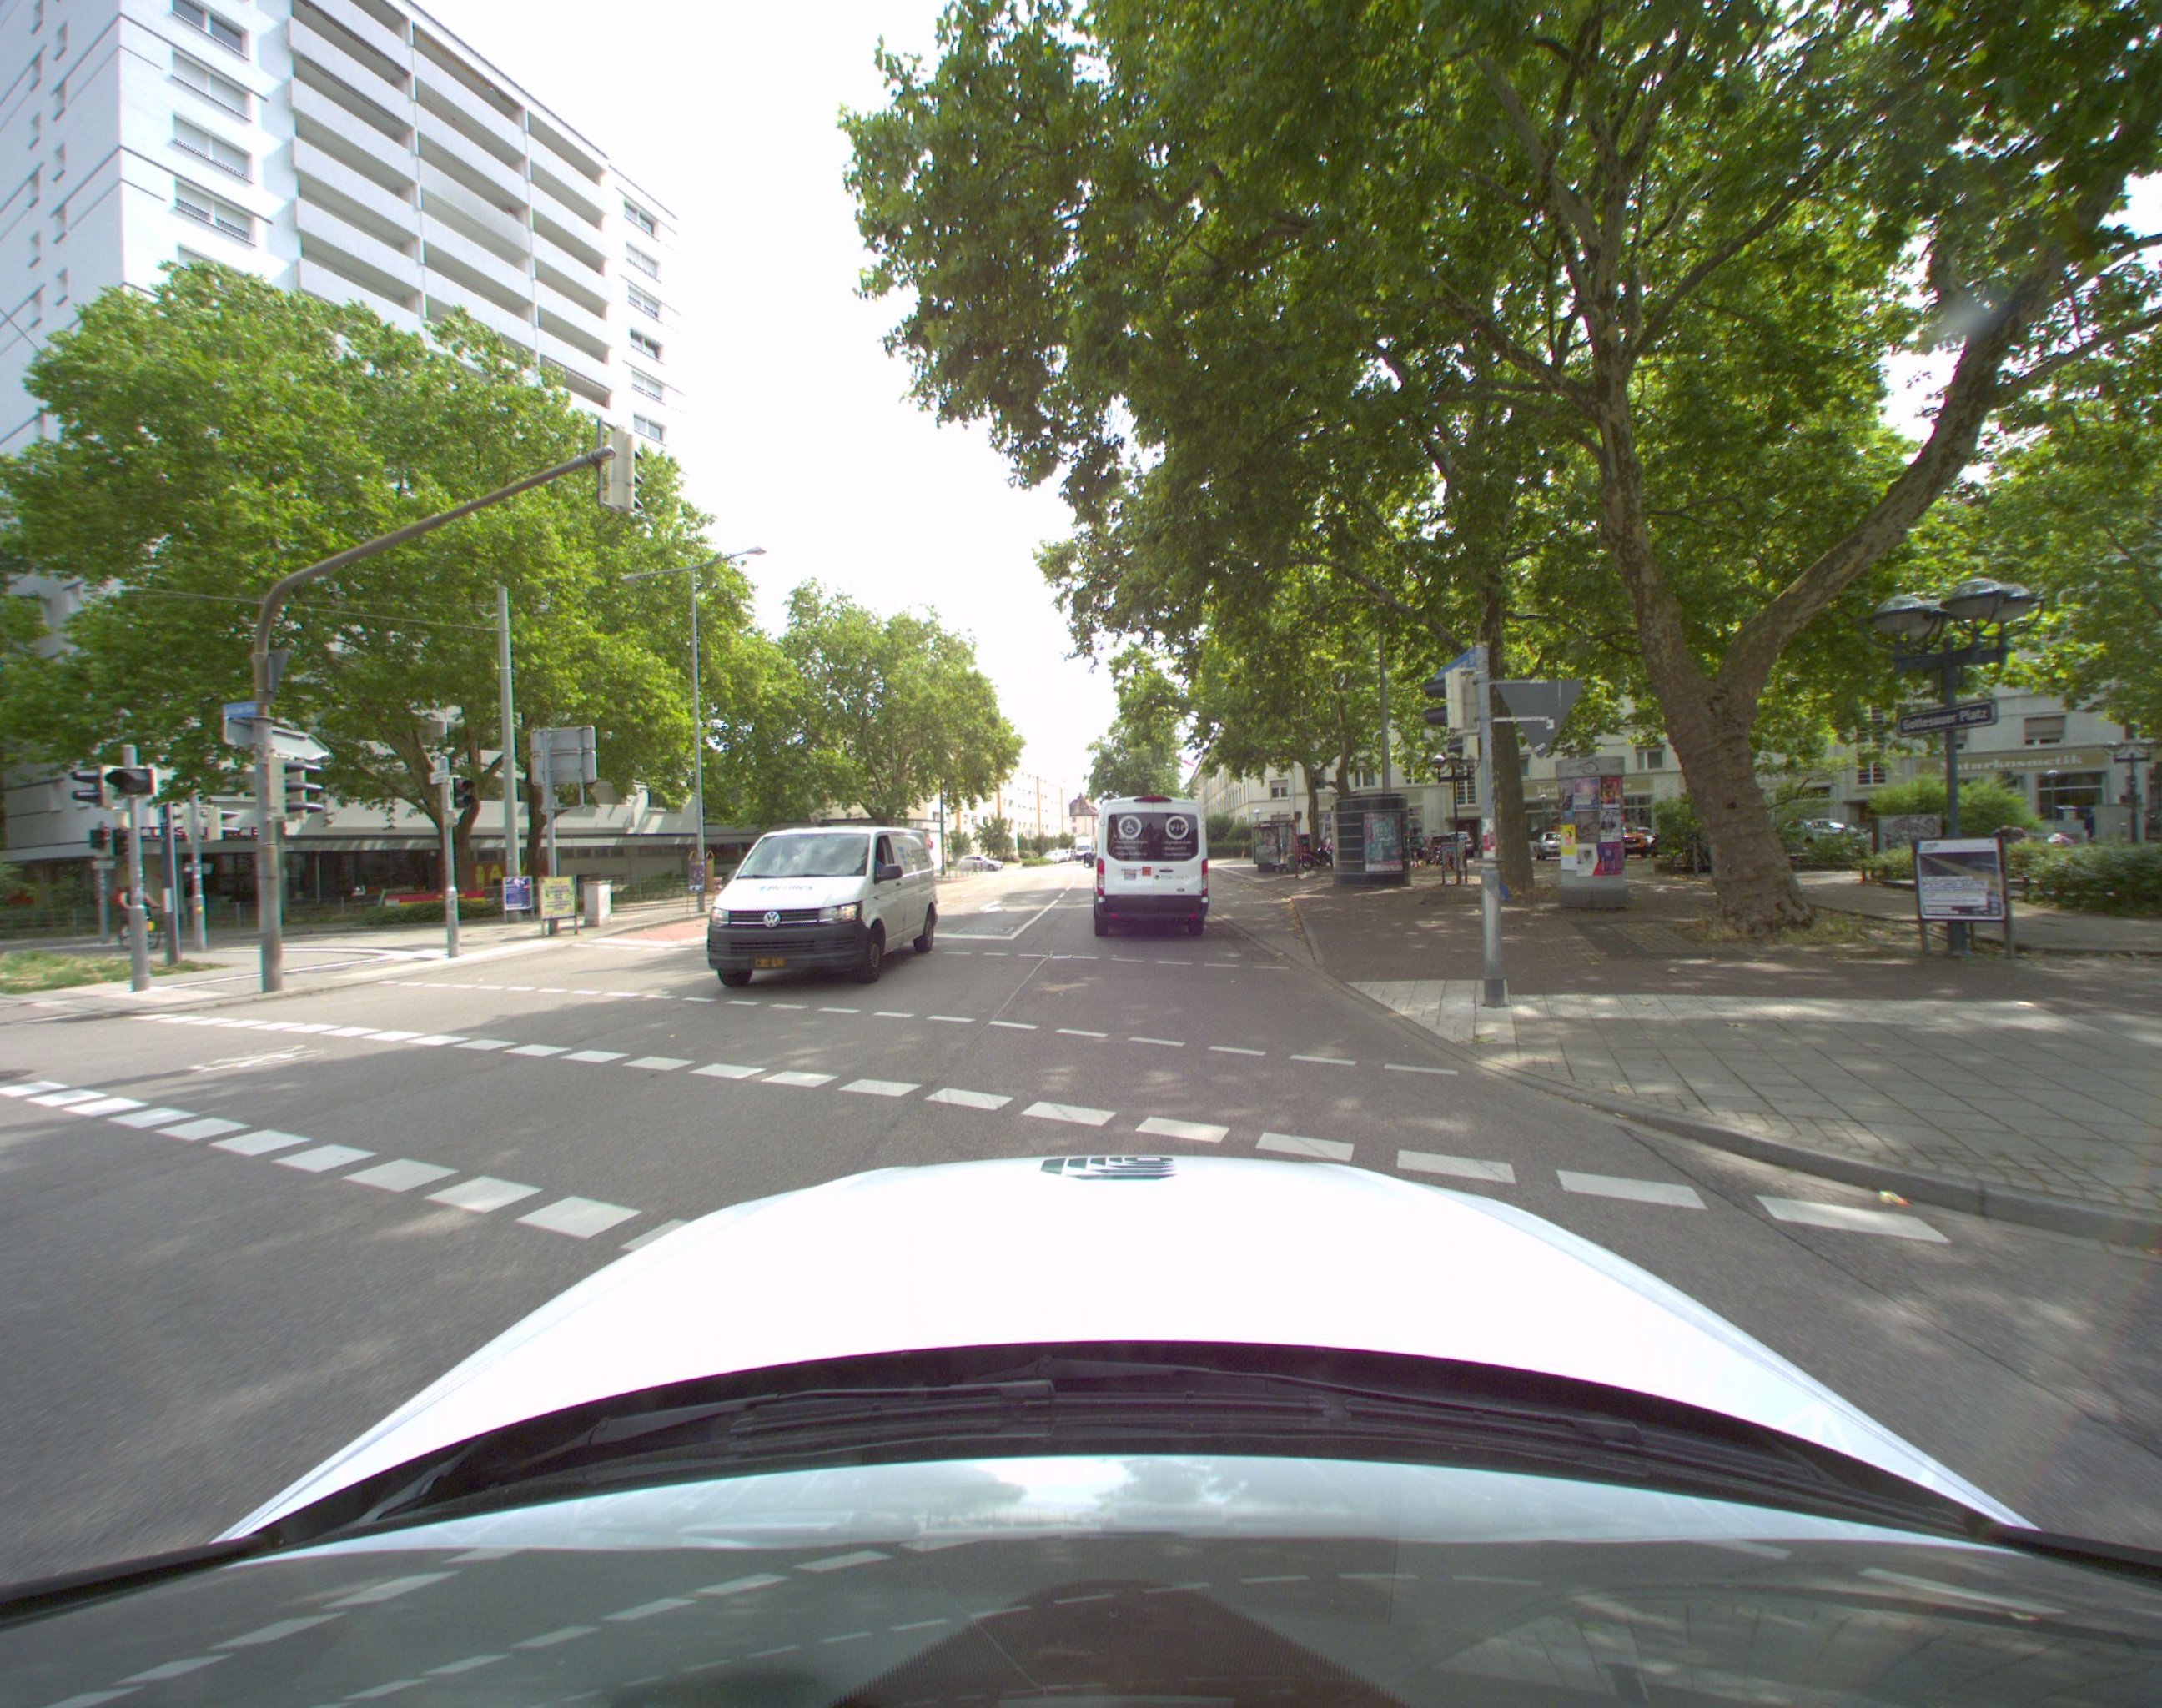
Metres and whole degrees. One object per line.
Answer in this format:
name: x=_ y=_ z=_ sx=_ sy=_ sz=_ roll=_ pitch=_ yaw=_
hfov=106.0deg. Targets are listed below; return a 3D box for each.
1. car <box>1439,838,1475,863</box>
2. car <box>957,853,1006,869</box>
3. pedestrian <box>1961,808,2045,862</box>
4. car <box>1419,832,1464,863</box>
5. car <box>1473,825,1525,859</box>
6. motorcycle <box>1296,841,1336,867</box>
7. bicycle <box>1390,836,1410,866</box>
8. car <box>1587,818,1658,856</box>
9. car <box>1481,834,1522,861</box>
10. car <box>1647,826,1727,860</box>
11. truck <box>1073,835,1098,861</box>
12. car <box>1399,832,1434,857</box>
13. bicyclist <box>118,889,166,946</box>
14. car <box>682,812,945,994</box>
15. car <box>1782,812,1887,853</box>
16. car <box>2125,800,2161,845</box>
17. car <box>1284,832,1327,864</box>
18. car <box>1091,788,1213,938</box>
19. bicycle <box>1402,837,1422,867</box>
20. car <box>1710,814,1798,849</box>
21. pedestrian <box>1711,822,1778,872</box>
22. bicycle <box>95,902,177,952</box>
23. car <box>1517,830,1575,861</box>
car: x=24.236 y=-0.237 z=52.559 sx=1.976 sy=1.487 sz=4.219 roll=-2 pitch=0 yaw=24
car: x=-9.205 y=0.632 z=75.762 sx=4.151 sy=1.451 sz=1.852 roll=0 pitch=-1 yaw=5
pedestrian: x=21.517 y=-0.441 z=19.028 sx=0.878 sy=1.200 sz=1.130 roll=-2 pitch=1 yaw=23
car: x=19.058 y=-0.368 z=43.221 sx=1.976 sy=1.464 sz=4.021 roll=-3 pitch=0 yaw=21
car: x=21.646 y=-0.619 z=42.314 sx=1.976 sy=1.599 sz=4.021 roll=-3 pitch=0 yaw=21
motorcycle: x=11.924 y=0.002 z=41.363 sx=1.849 sy=1.222 sz=0.530 roll=-2 pitch=1 yaw=-2
bicycle: x=15.568 y=-0.152 z=39.720 sx=0.415 sy=1.378 sz=2.326 roll=-2 pitch=1 yaw=33
car: x=26.687 y=-0.818 z=40.298 sx=1.976 sy=1.695 sz=4.584 roll=-3 pitch=0 yaw=21
car: x=26.437 y=-0.430 z=51.347 sx=1.976 sy=1.591 sz=4.219 roll=-2 pitch=0 yaw=24
car: x=28.472 y=-0.519 z=38.419 sx=1.976 sy=1.464 sz=4.021 roll=-3 pitch=0 yaw=21
truck: x=0.685 y=-0.766 z=108.059 sx=2.529 sy=3.107 sz=7.029 roll=-4 pitch=0 yaw=5
car: x=21.977 y=-0.627 z=53.231 sx=1.976 sy=1.504 sz=4.219 roll=-2 pitch=0 yaw=24
bicyclist: x=-23.576 y=1.594 z=20.443 sx=0.744 sy=1.342 sz=0.494 roll=-5 pitch=0 yaw=21
car: x=-3.331 y=0.506 z=11.365 sx=1.917 sy=1.936 sz=4.948 roll=-1 pitch=1 yaw=1
car: x=33.512 y=-0.931 z=36.381 sx=1.976 sy=1.618 sz=4.227 roll=-3 pitch=0 yaw=21
car: x=43.991 y=-1.281 z=31.942 sx=1.895 sy=1.816 sz=4.021 roll=-2 pitch=0 yaw=20
car: x=12.859 y=-0.347 z=46.488 sx=1.916 sy=1.706 sz=4.353 roll=-2 pitch=0 yaw=21
car: x=1.356 y=0.143 z=16.215 sx=2.061 sy=2.540 sz=4.639 roll=0 pitch=0 yaw=4
bicycle: x=15.989 y=-0.107 z=39.327 sx=0.415 sy=1.378 sz=2.326 roll=-2 pitch=0 yaw=33
car: x=31.241 y=-1.023 z=37.941 sx=1.976 sy=1.464 sz=4.021 roll=-3 pitch=0 yaw=21
pedestrian: x=17.250 y=-0.177 z=21.206 sx=1.085 sy=1.213 sz=1.147 roll=-3 pitch=0 yaw=26
bicycle: x=-23.796 y=1.839 z=20.497 sx=1.948 sy=1.094 sz=0.630 roll=-4 pitch=0 yaw=19
car: x=23.826 y=-0.435 z=41.843 sx=1.976 sy=1.464 sz=4.021 roll=-3 pitch=0 yaw=21
